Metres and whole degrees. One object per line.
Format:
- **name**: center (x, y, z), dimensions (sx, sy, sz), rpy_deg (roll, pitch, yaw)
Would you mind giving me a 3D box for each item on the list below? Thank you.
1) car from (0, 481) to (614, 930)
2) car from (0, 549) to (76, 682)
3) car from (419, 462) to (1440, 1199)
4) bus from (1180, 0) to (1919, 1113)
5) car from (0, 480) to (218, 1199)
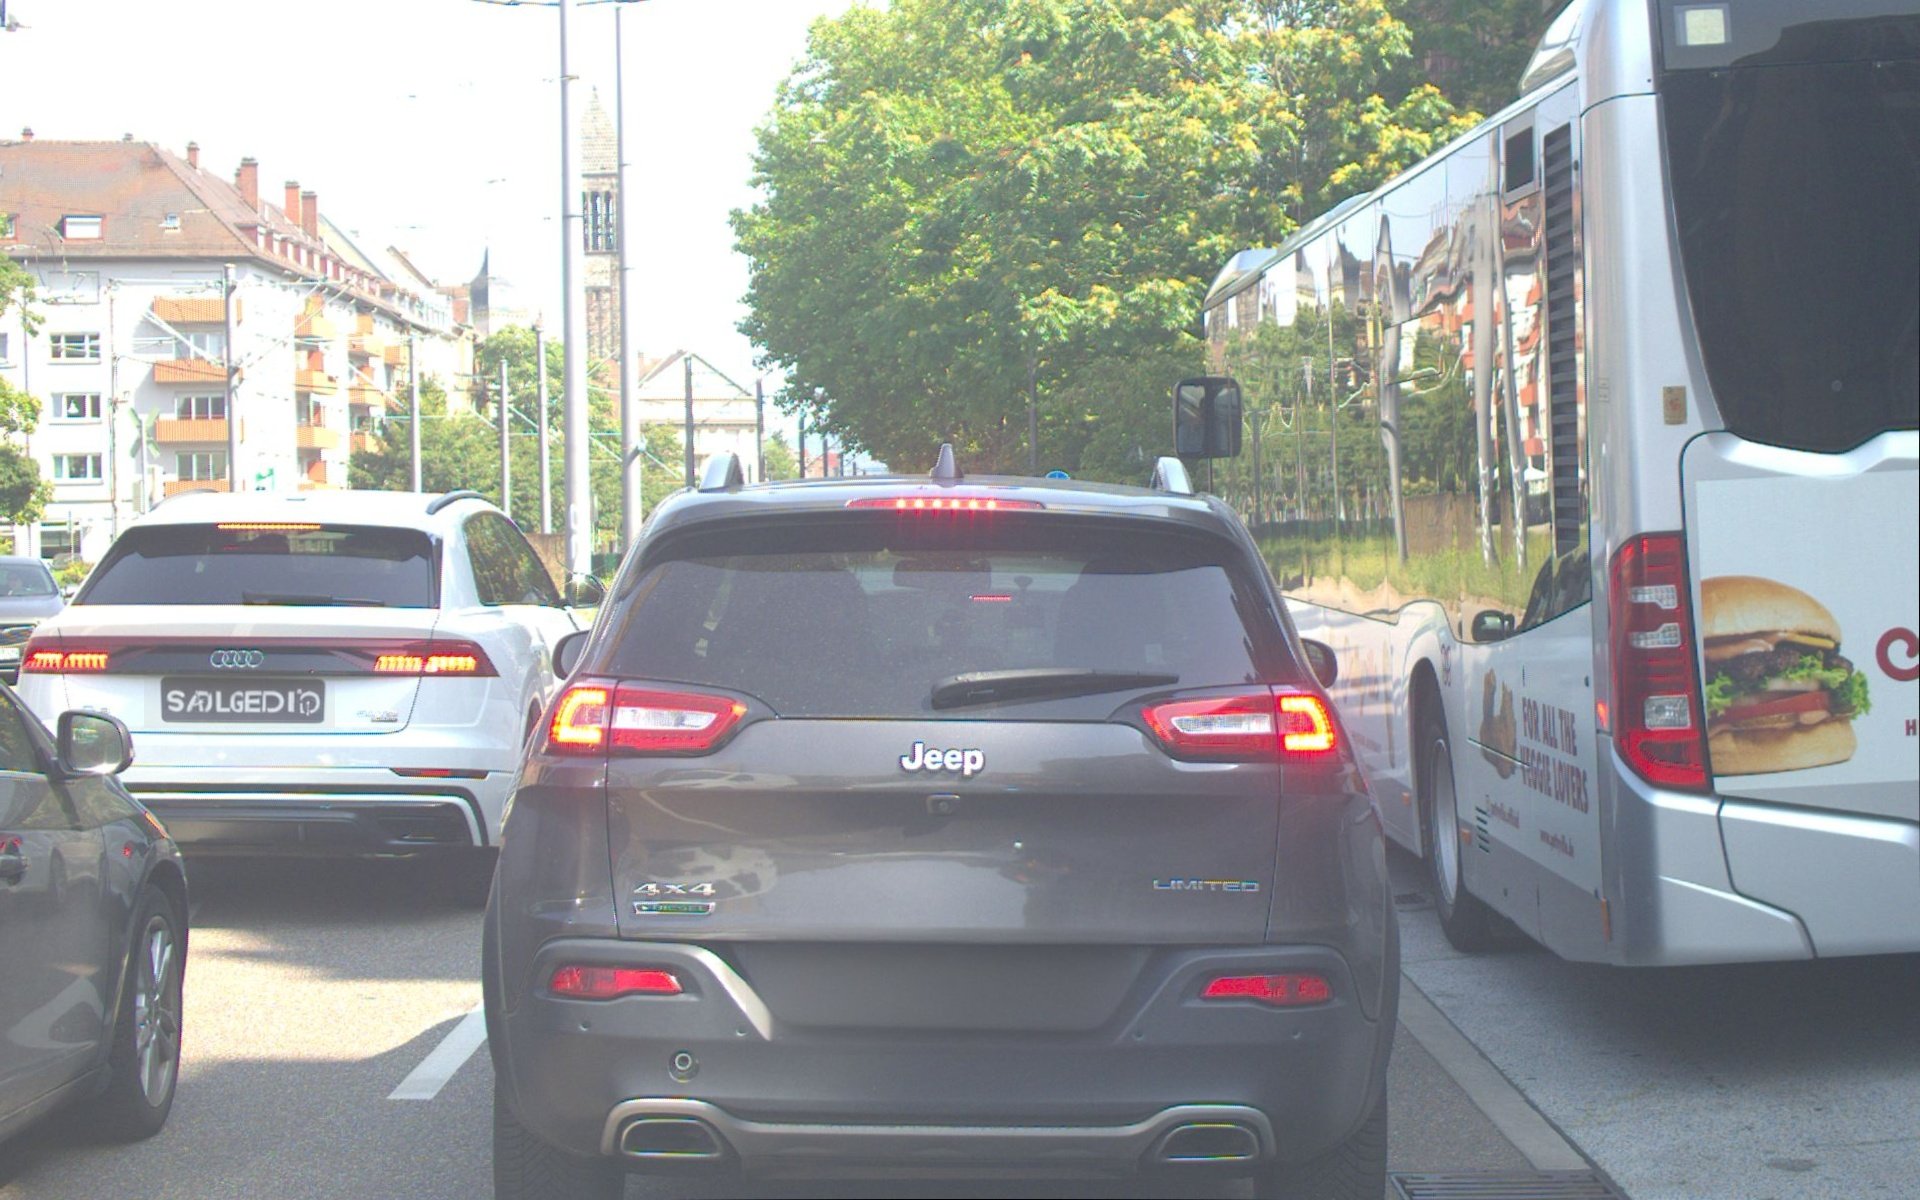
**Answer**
- **car**: center (-2.633, 0.337, 14.755), dimensions (1.902, 1.646, 4.309), rpy_deg (0, 1, -1)
- **car**: center (-11.344, 0.160, 40.492), dimensions (1.746, 1.430, 4.574), rpy_deg (-3, 2, -14)
- **car**: center (-0.040, 0.534, 8.362), dimensions (1.832, 1.646, 4.308), rpy_deg (0, 1, 1)
- **bus**: center (2.840, -0.412, 14.777), dimensions (2.743, 3.096, 11.956), rpy_deg (-3, 1, 0)
- **car**: center (-2.821, 0.556, 6.947), dimensions (1.747, 1.609, 4.309), rpy_deg (0, 1, -1)
